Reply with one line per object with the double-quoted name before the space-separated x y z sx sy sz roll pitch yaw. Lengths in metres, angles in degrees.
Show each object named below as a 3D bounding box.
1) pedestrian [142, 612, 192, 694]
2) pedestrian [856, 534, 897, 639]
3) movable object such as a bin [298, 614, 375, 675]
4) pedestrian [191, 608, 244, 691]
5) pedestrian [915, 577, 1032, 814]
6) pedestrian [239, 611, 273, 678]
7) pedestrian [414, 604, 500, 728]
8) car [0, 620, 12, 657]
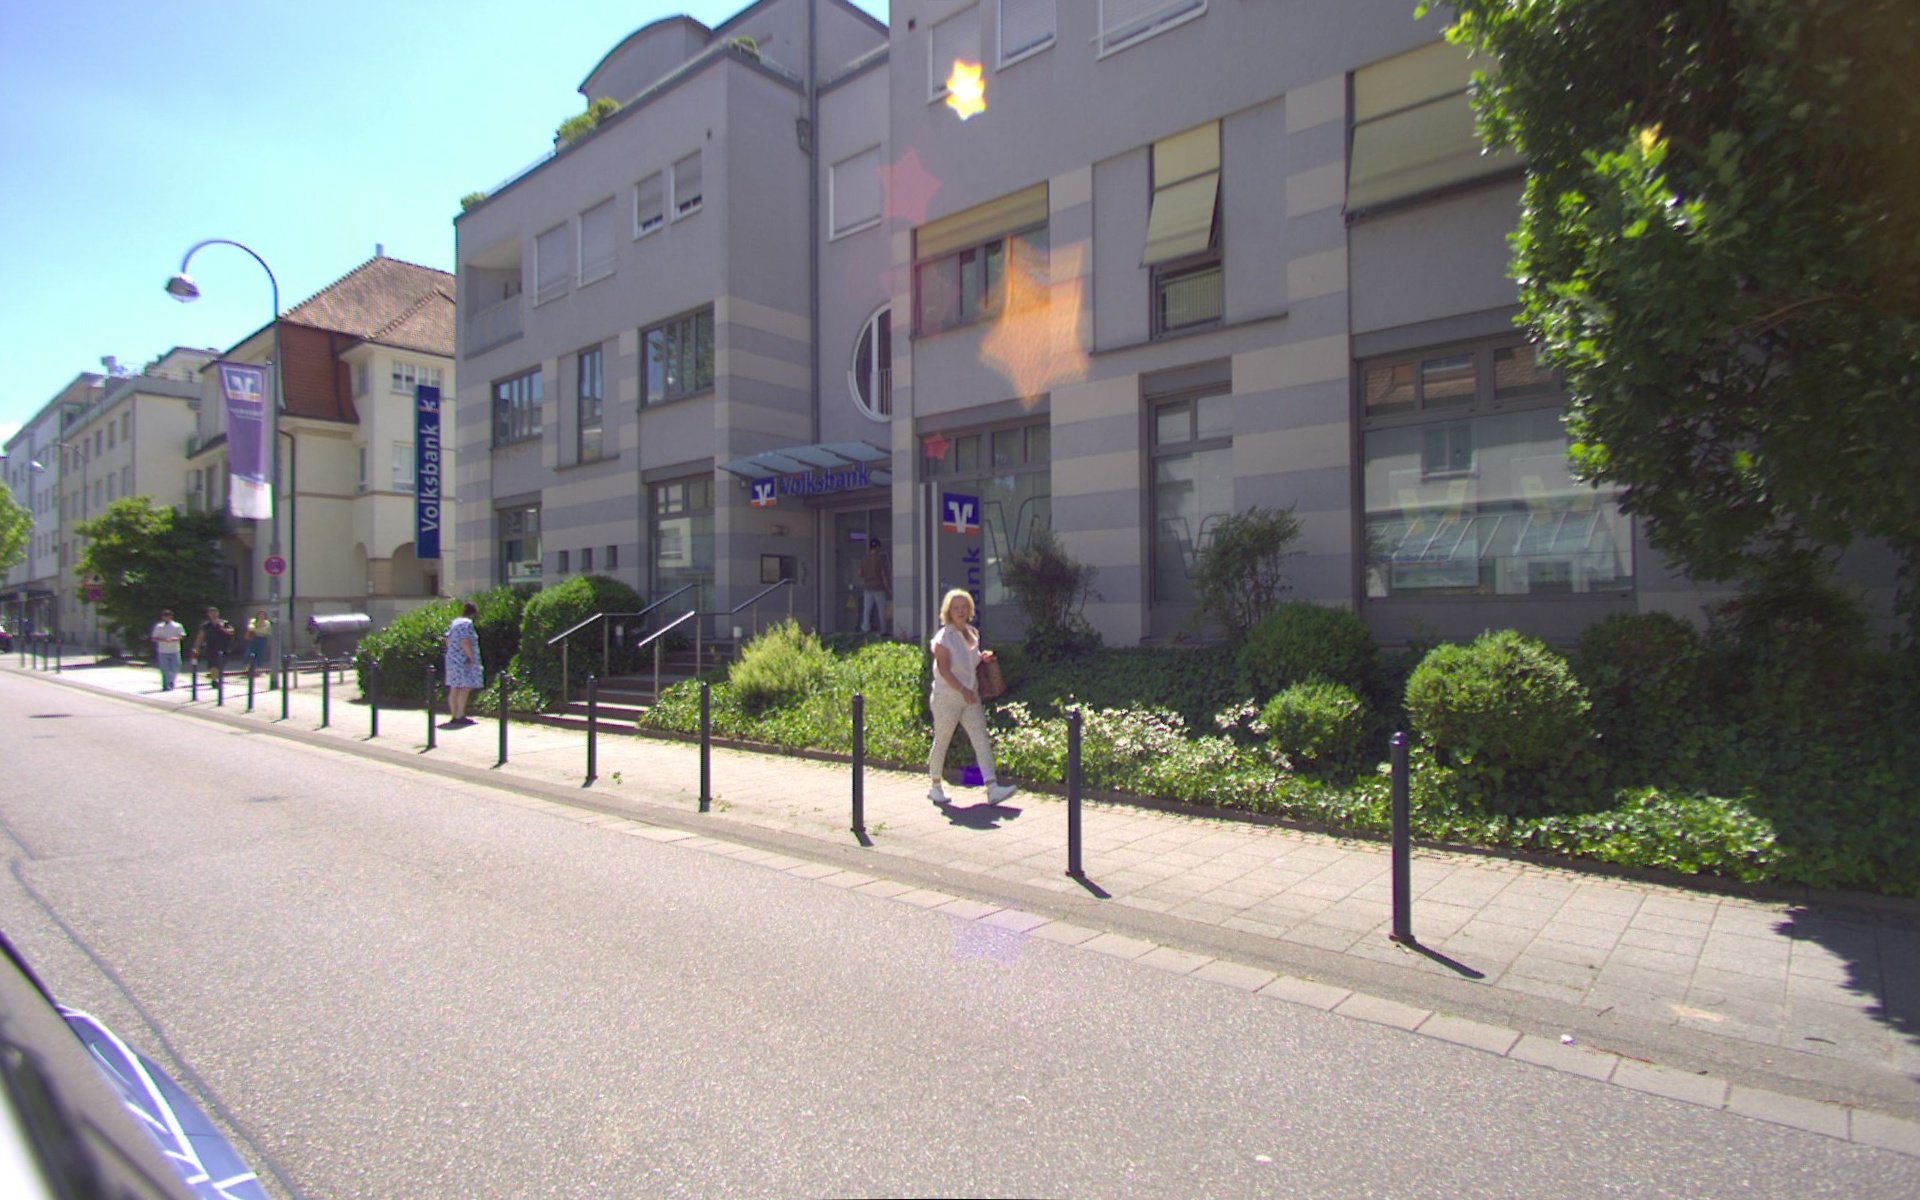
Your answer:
"pedestrian" -16.971 1.112 21.656 0.903 1.689 0.615 -1 1 40
"pedestrian" -1.416 -0.228 17.224 0.604 1.752 0.580 -1 -1 5
"movable object such as a bin" -16.723 1.166 27.153 1.294 1.499 1.372 -1 1 41
"pedestrian" -16.309 1.068 22.238 0.950 1.784 0.740 -2 -1 40
"pedestrian" 0.101 0.688 7.688 0.708 1.698 0.531 -1 -1 41
"pedestrian" -18.055 1.139 25.945 0.734 1.687 0.534 -2 -1 40
"pedestrian" -7.005 0.887 14.098 0.750 1.657 0.837 -2 -2 39
"car" -46.080 1.807 47.589 4.291 1.683 1.709 -1 -1 41
